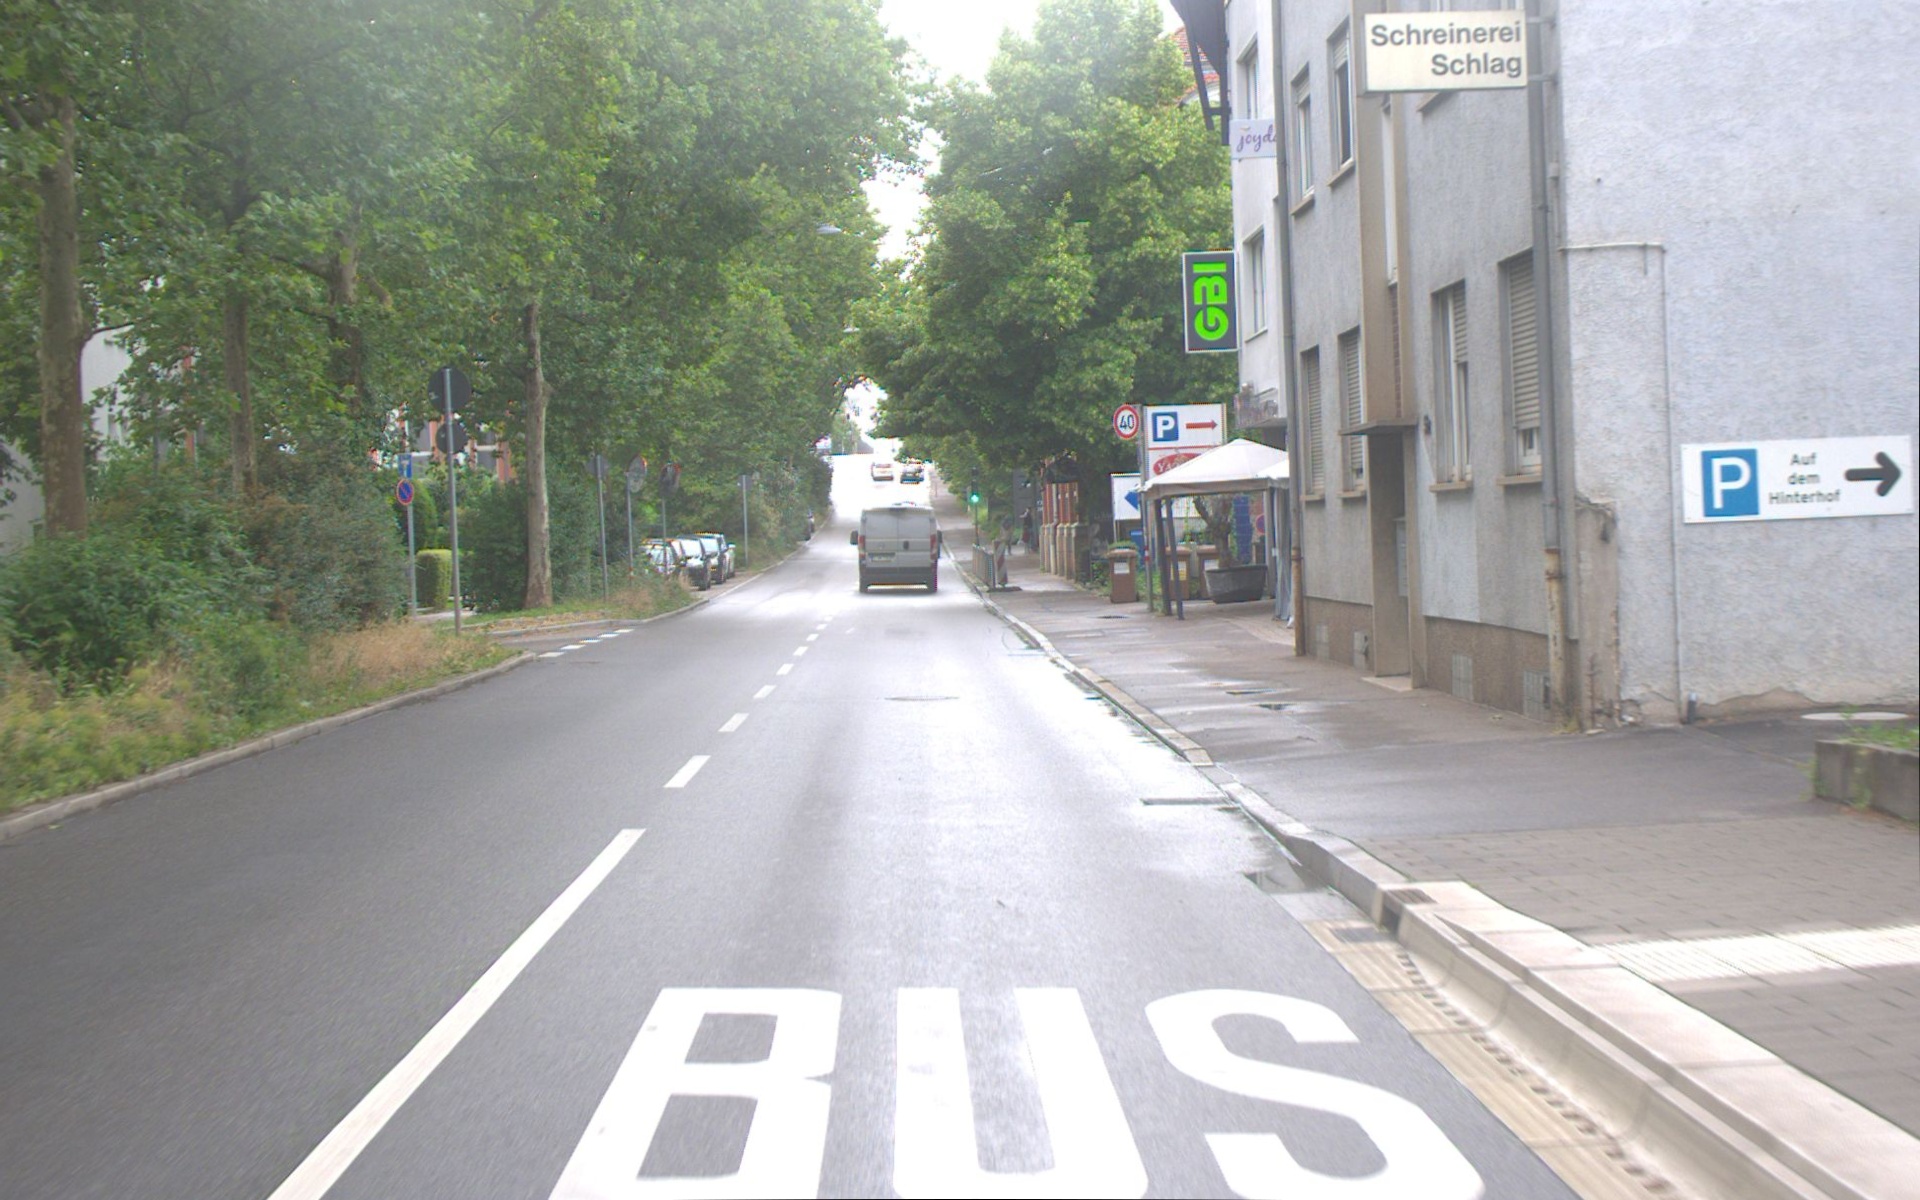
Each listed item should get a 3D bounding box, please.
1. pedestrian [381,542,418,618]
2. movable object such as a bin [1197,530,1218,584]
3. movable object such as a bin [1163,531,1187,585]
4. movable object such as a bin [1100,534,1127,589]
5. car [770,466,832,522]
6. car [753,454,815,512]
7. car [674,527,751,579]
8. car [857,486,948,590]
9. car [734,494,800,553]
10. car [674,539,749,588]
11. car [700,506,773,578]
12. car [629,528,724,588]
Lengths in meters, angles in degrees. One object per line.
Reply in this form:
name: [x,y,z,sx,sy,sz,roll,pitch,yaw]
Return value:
pedestrian: [-11.569,-0.416,70.995,0.681,1.565,0.623,0,0,-3]
movable object such as a bin: [4.930,-0.860,68.594,0.356,1.063,0.358,0,-1,-7]
movable object such as a bin: [4.284,-0.832,68.557,0.399,1.063,0.358,-1,-1,-7]
movable object such as a bin: [3.052,-0.759,68.560,0.399,1.063,0.358,-5,0,-7]
car: [-6.950,-4.614,150.600,2.216,2.286,4.609,0,-1,3]
car: [-7.304,-4.849,142.970,2.215,2.286,4.609,0,0,1]
car: [-8.445,-1.592,117.644,2.215,1.685,4.609,0,-1,1]
car: [-1.489,-1.591,89.953,2.282,2.544,4.000,-1,-1,-1]
car: [-7.544,-2.980,134.902,2.215,2.286,4.609,0,0,1]
car: [-8.124,-1.180,112.703,1.995,1.538,4.609,0,-1,1]
car: [-8.004,-2.070,123.298,2.215,2.525,4.609,0,0,1]
car: [-8.014,-1.174,97.641,2.215,1.587,4.609,0,-1,1]
